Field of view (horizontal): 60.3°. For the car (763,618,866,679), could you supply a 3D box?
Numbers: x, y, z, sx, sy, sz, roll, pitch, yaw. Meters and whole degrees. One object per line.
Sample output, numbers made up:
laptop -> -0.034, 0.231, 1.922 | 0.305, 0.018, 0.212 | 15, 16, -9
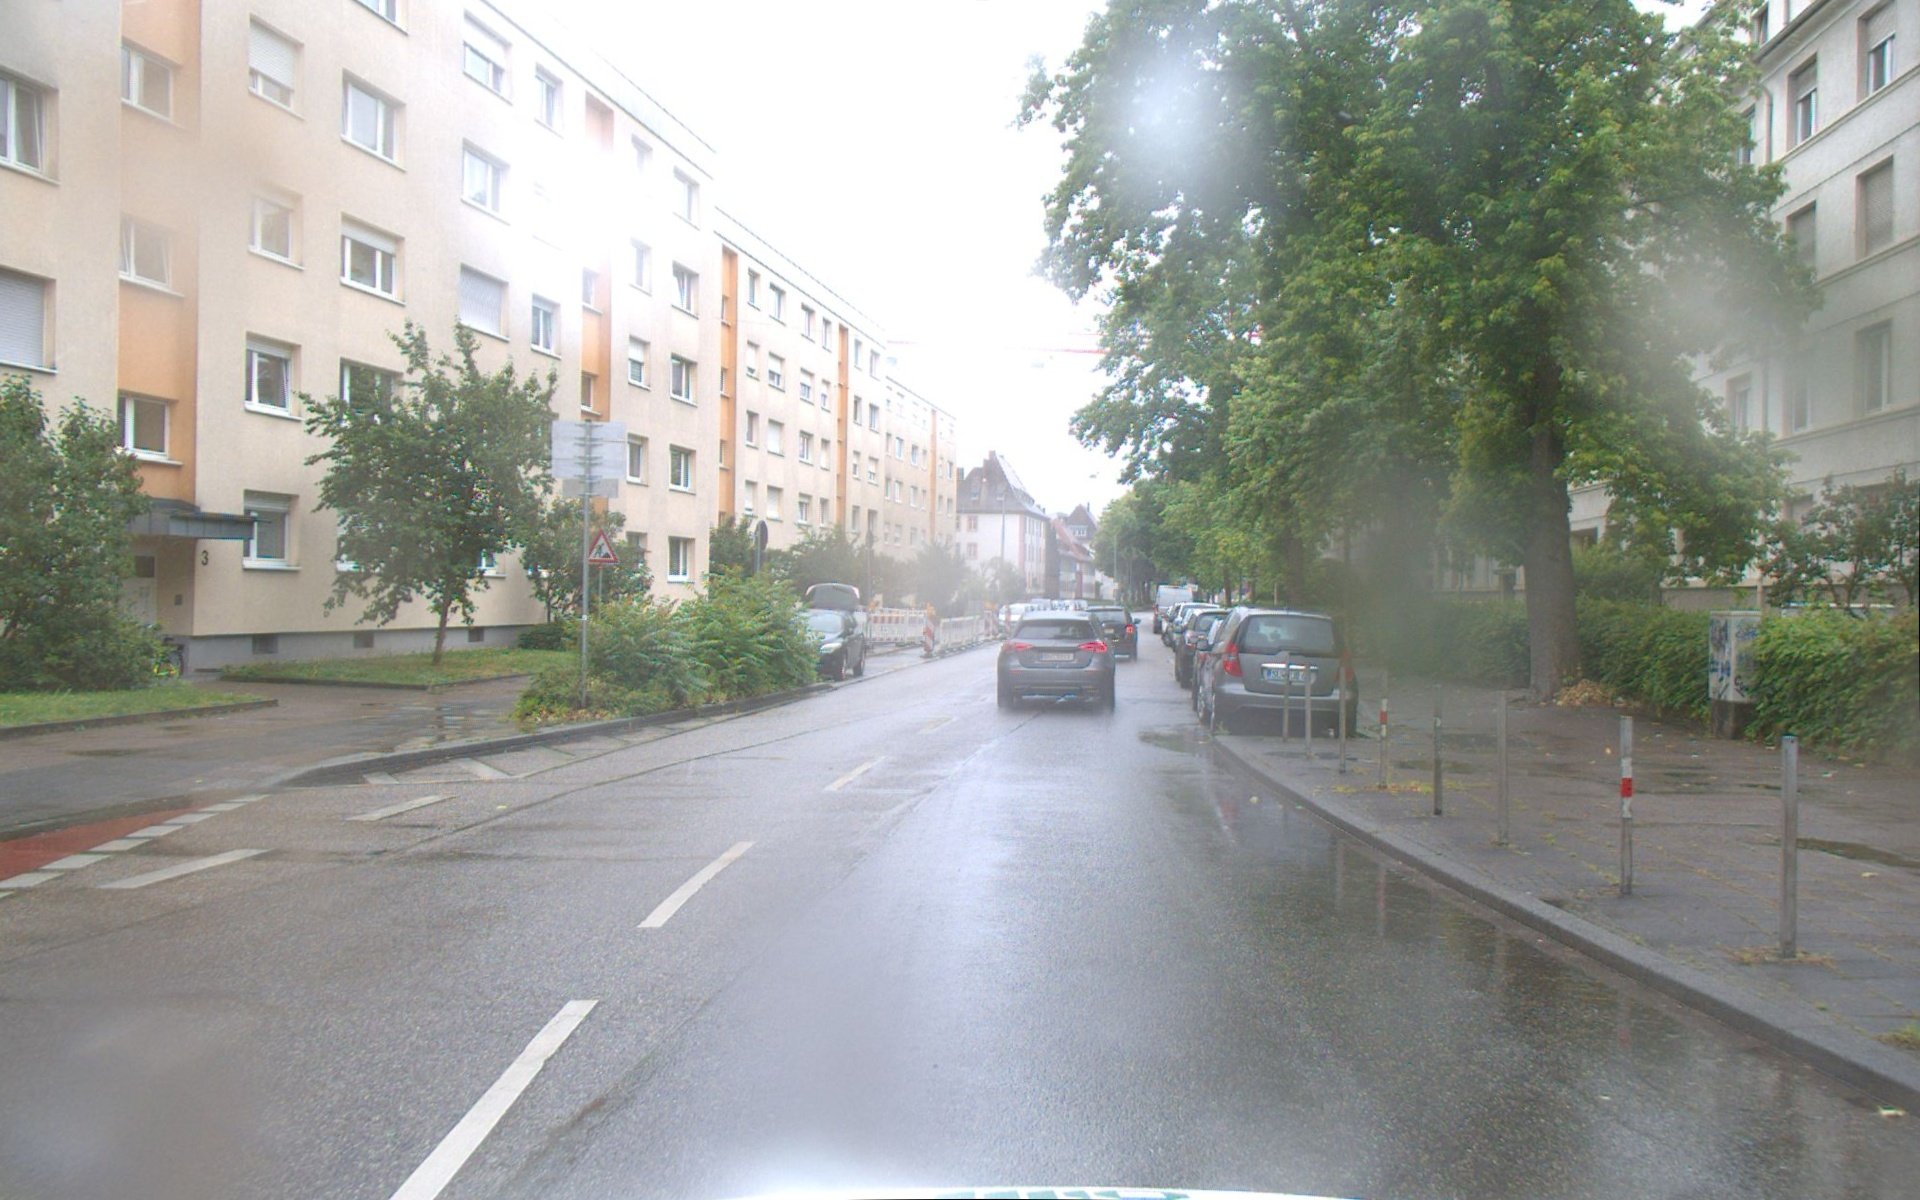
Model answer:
car -> -3.145, 1.027, 36.319 | 1.556, 1.227, 3.462 | 0, 0, 7

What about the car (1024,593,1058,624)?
car -> 5.098, 0.512, 103.277 | 1.849, 1.868, 4.003 | 0, 0, 6

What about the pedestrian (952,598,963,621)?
pedestrian -> -0.146, 0.575, 101.704 | 0.517, 1.381, 0.586 | 2, 0, 11

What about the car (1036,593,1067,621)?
car -> 6.315, 0.482, 113.692 | 1.849, 1.868, 4.003 | 0, 0, 6

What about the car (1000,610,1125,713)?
car -> 1.547, 0.893, 25.508 | 1.754, 1.396, 3.508 | 2, 0, 2

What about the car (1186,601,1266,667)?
car -> 6.864, 0.850, 43.058 | 1.849, 1.601, 4.003 | 0, 0, 6

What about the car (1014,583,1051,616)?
car -> 4.265, -0.004, 96.891 | 1.849, 1.868, 4.003 | 0, 0, 6

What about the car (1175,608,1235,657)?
car -> 8.248, 1.074, 55.969 | 1.849, 1.601, 4.003 | 0, 0, 6

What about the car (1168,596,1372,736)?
car -> 3.836, 0.774, 21.133 | 1.952, 1.601, 4.001 | 1, 0, 1

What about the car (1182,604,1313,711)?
car -> 4.632, 0.881, 27.135 | 1.849, 1.601, 4.003 | 0, 0, 6

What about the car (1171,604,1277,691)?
car -> 5.143, 0.889, 32.651 | 1.849, 1.601, 4.003 | 0, 0, 6

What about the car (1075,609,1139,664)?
car -> 3.965, 0.972, 45.114 | 1.574, 1.396, 4.001 | 0, 0, 2

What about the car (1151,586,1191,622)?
car -> 11.336, 0.231, 89.113 | 2.003, 1.868, 4.795 | 0, 0, 6
